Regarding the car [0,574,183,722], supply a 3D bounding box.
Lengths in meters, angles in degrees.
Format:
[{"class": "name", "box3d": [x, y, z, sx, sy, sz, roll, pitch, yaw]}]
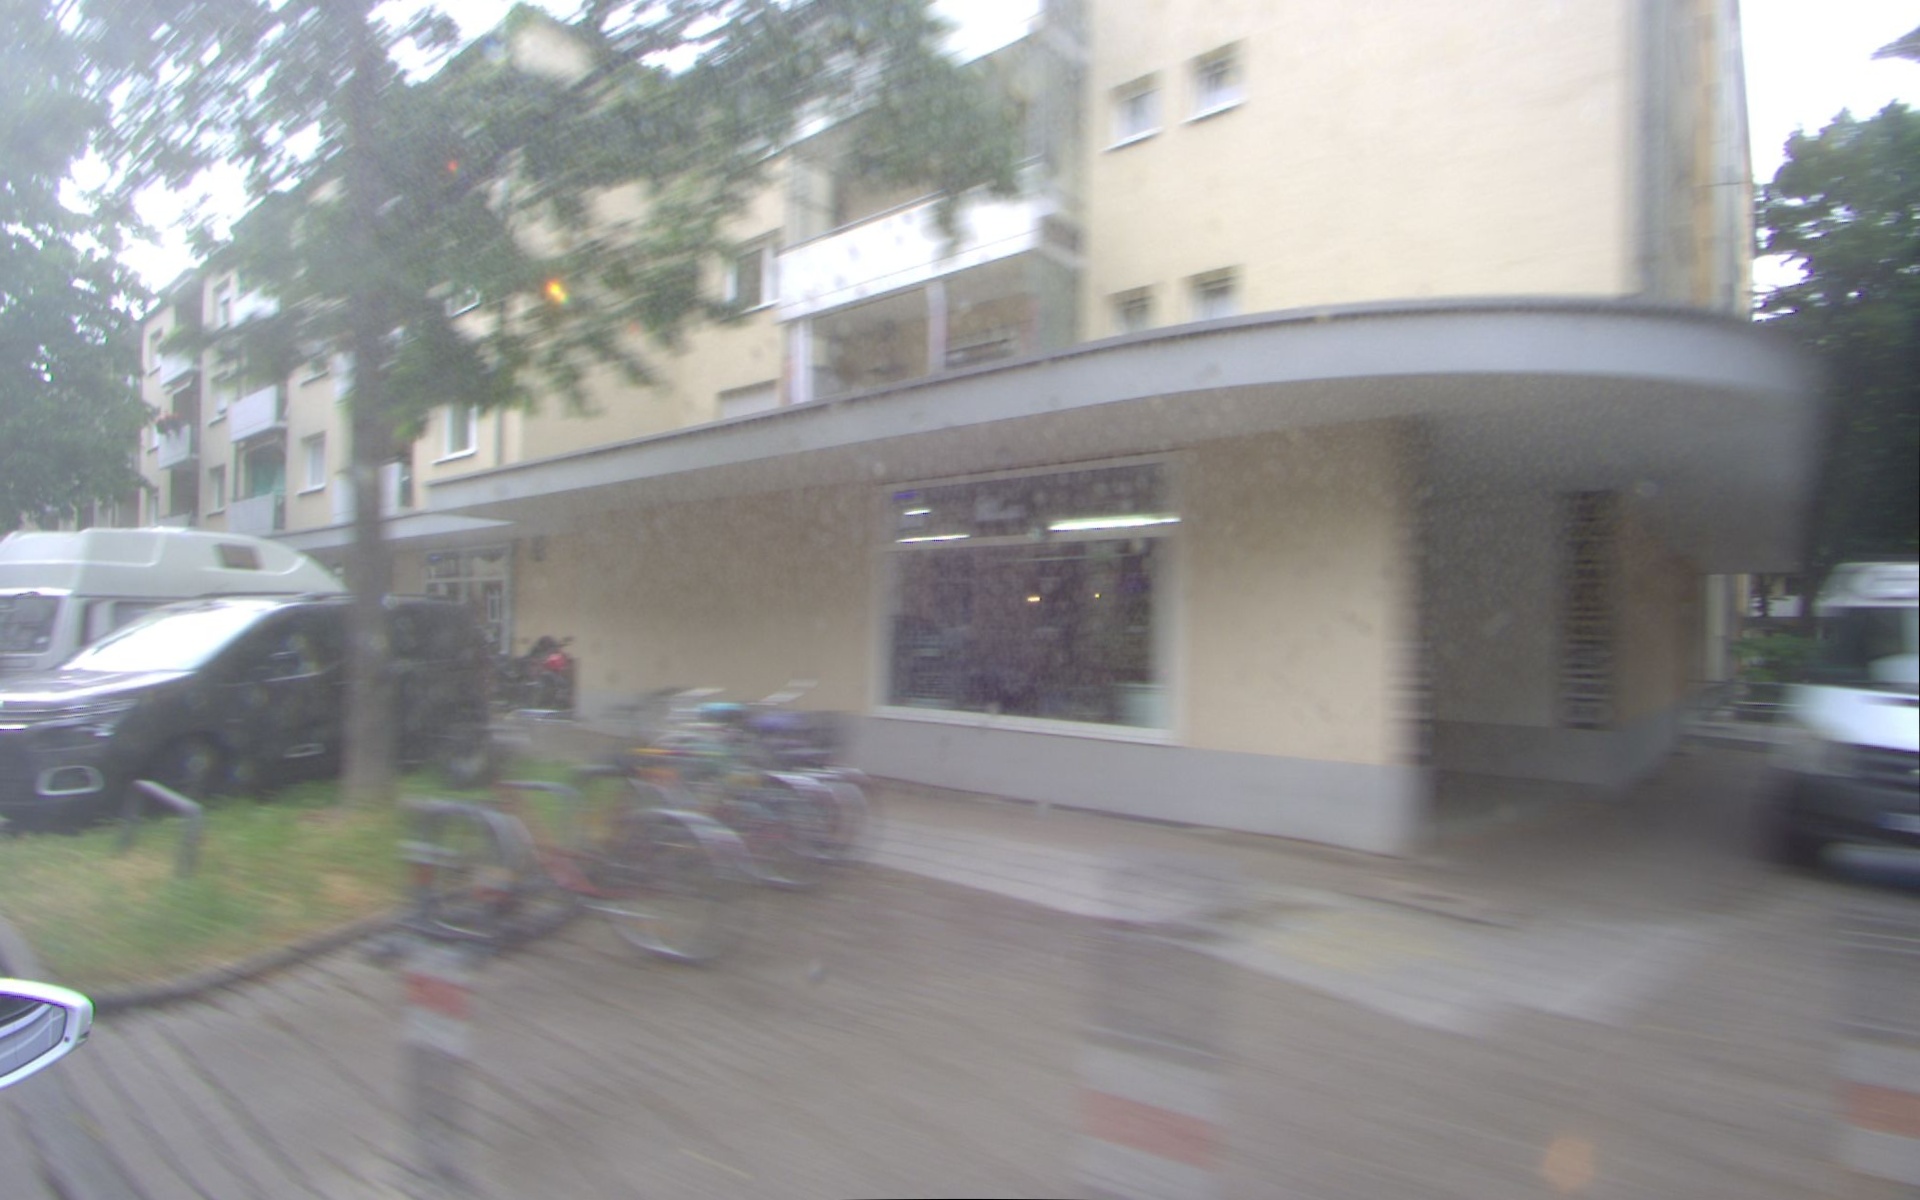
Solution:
[{"class": "car", "box3d": [-15.419, 0.744, 16.400, 2.027, 2.224, 4.400, 1, -2, -3]}]

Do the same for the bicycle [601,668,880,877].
[{"class": "bicycle", "box3d": [-1.402, 1.042, 6.389, 1.698, 1.188, 0.549, -1, -2, 19]}]

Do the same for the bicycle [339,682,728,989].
[{"class": "bicycle", "box3d": [-1.947, 0.992, 4.575, 1.698, 1.188, 0.549, -1, -2, 19]}]

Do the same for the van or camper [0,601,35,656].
[{"class": "van or camper", "box3d": [-34.748, 0.968, 33.690, 2.087, 1.893, 5.019, 0, -1, 13]}]

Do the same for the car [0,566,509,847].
[{"class": "car", "box3d": [-6.409, 0.787, 9.060, 1.876, 1.877, 4.343, 1, -2, 15]}]

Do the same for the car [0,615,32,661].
[{"class": "car", "box3d": [-32.455, 1.213, 31.893, 1.877, 1.521, 3.860, 0, -1, 11]}]

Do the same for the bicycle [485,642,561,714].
[{"class": "bicycle", "box3d": [-7.150, 1.246, 16.358, 1.682, 1.104, 0.482, -1, -2, 43]}]

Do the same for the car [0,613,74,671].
[{"class": "car", "box3d": [-26.282, 1.101, 26.250, 1.939, 1.520, 4.224, 0, -1, 13]}]

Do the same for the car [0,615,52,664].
[{"class": "car", "box3d": [-30.400, 1.185, 30.241, 1.912, 1.502, 4.049, 0, -1, 15]}]

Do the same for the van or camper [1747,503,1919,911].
[{"class": "van or camper", "box3d": [8.283, 0.794, 7.904, 5.730, 2.528, 2.116, 3, 1, -41]}]

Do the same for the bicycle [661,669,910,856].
[{"class": "bicycle", "box3d": [-1.229, 1.093, 7.050, 1.667, 1.188, 0.549, -1, -2, 19]}]

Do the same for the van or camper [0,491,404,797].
[{"class": "van or camper", "box3d": [-8.594, 0.447, 11.020, 1.874, 2.629, 4.598, 1, -2, 8]}]

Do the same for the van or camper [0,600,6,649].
[{"class": "van or camper", "box3d": [-41.121, 1.000, 39.499, 1.963, 2.019, 4.741, -2, -1, 15]}]

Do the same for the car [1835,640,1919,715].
[{"class": "car", "box3d": [27.377, 2.259, 29.644, 1.980, 2.039, 3.964, 0, -2, 45]}]

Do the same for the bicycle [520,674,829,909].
[{"class": "bicycle", "box3d": [-1.645, 1.039, 5.765, 1.698, 1.188, 0.549, -1, -2, 19]}]
